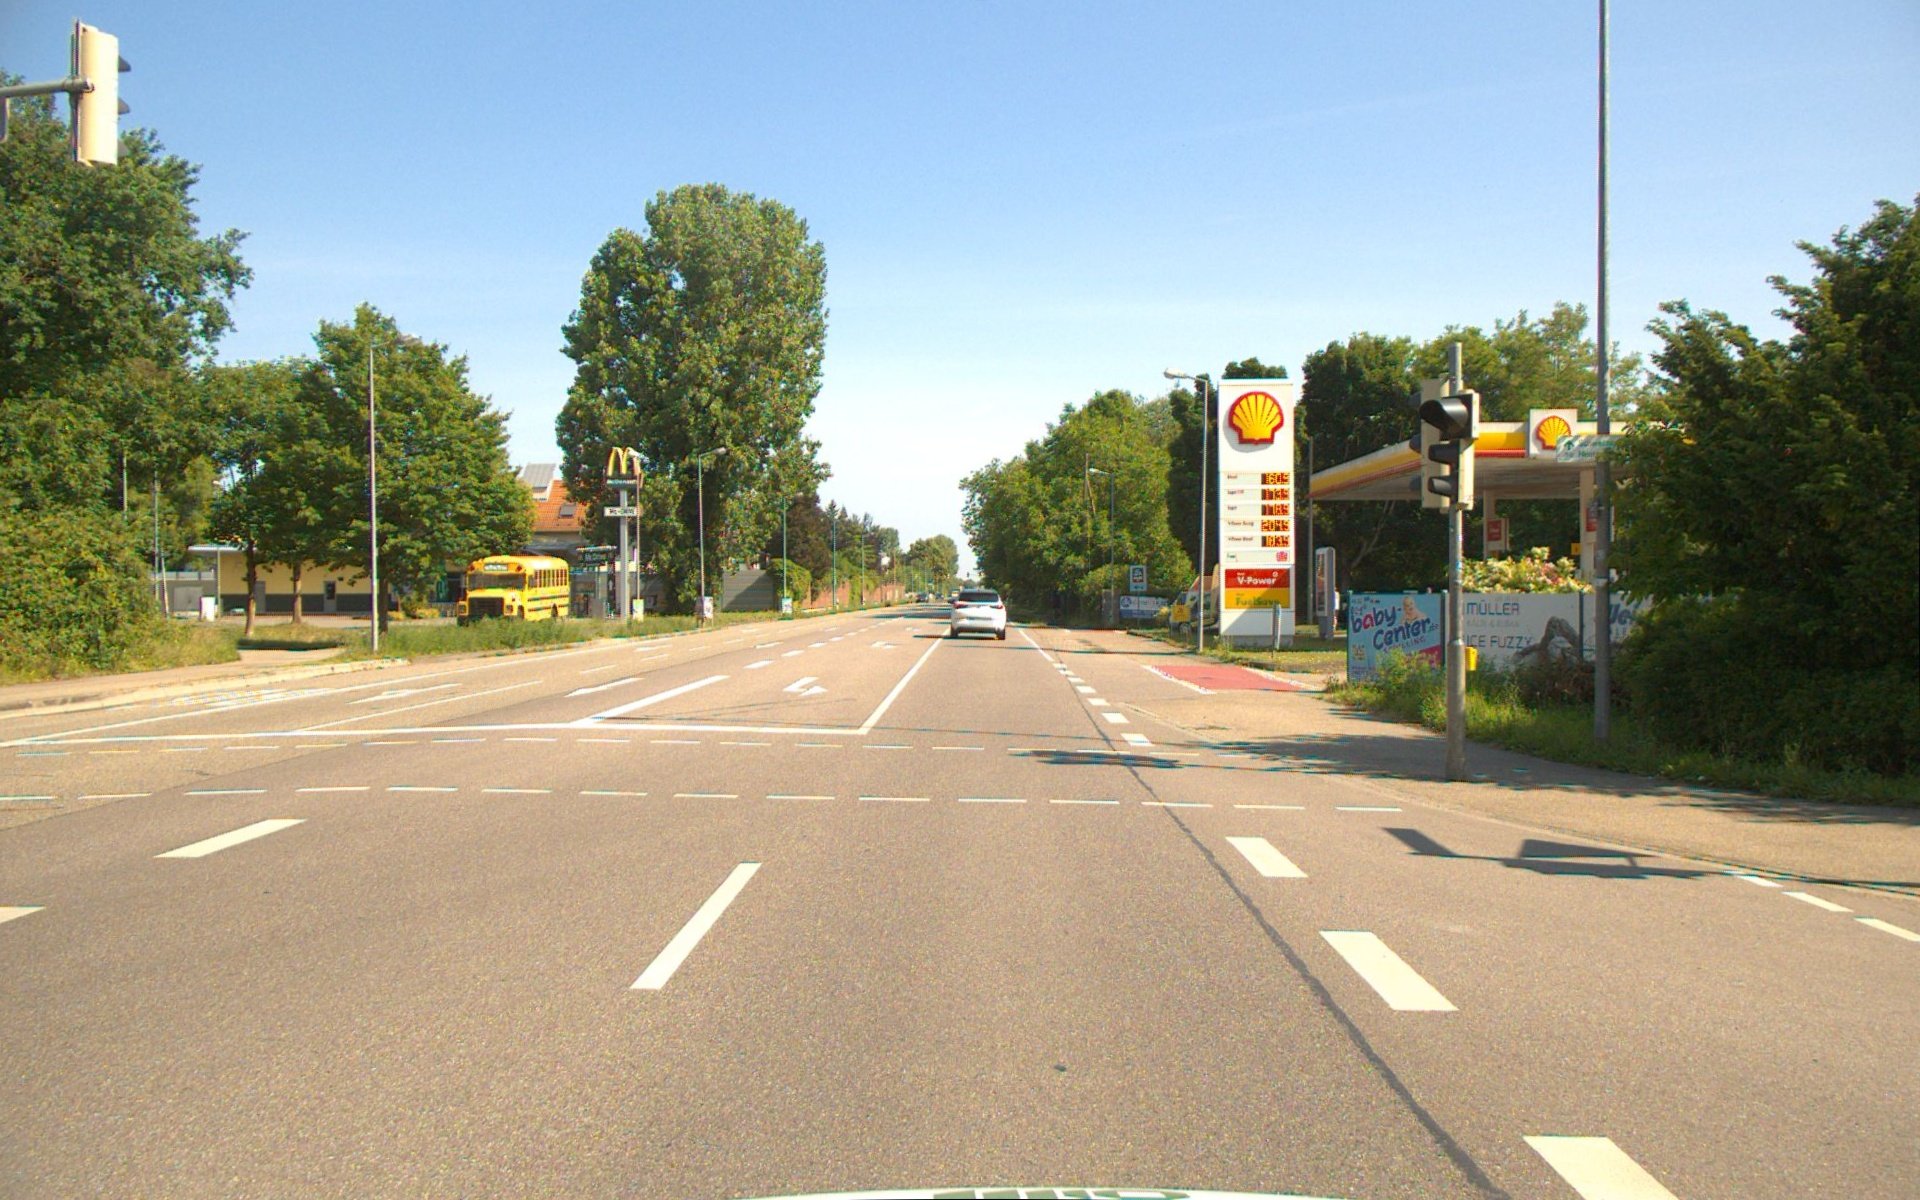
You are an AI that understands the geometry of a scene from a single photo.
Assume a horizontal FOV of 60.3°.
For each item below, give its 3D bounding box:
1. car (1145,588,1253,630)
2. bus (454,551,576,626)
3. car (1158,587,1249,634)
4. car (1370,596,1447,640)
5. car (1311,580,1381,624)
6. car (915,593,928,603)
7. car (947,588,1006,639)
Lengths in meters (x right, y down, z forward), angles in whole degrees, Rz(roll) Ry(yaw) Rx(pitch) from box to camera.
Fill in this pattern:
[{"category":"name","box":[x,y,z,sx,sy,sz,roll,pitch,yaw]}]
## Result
[{"category":"car","box":[9.376,0.346,65.090,3.910,1.557,1.583,1,0,-7]},{"category":"bus","box":[-17.595,-0.425,66.001,2.527,2.726,8.994,1,0,-1]},{"category":"car","box":[8.315,0.362,56.554,1.566,1.557,2.686,2,-2,-45]},{"category":"car","box":[15.026,0.584,55.615,1.760,1.384,3.850,0,0,3]},{"category":"car","box":[16.580,0.106,71.203,1.953,1.796,3.998,1,0,-2]},{"category":"car","box":[-6.033,-0.266,260.036,1.809,1.522,4.912,-2,0,1]},{"category":"car","box":[0.558,0.431,54.584,1.809,1.568,4.225,1,0,1]}]
